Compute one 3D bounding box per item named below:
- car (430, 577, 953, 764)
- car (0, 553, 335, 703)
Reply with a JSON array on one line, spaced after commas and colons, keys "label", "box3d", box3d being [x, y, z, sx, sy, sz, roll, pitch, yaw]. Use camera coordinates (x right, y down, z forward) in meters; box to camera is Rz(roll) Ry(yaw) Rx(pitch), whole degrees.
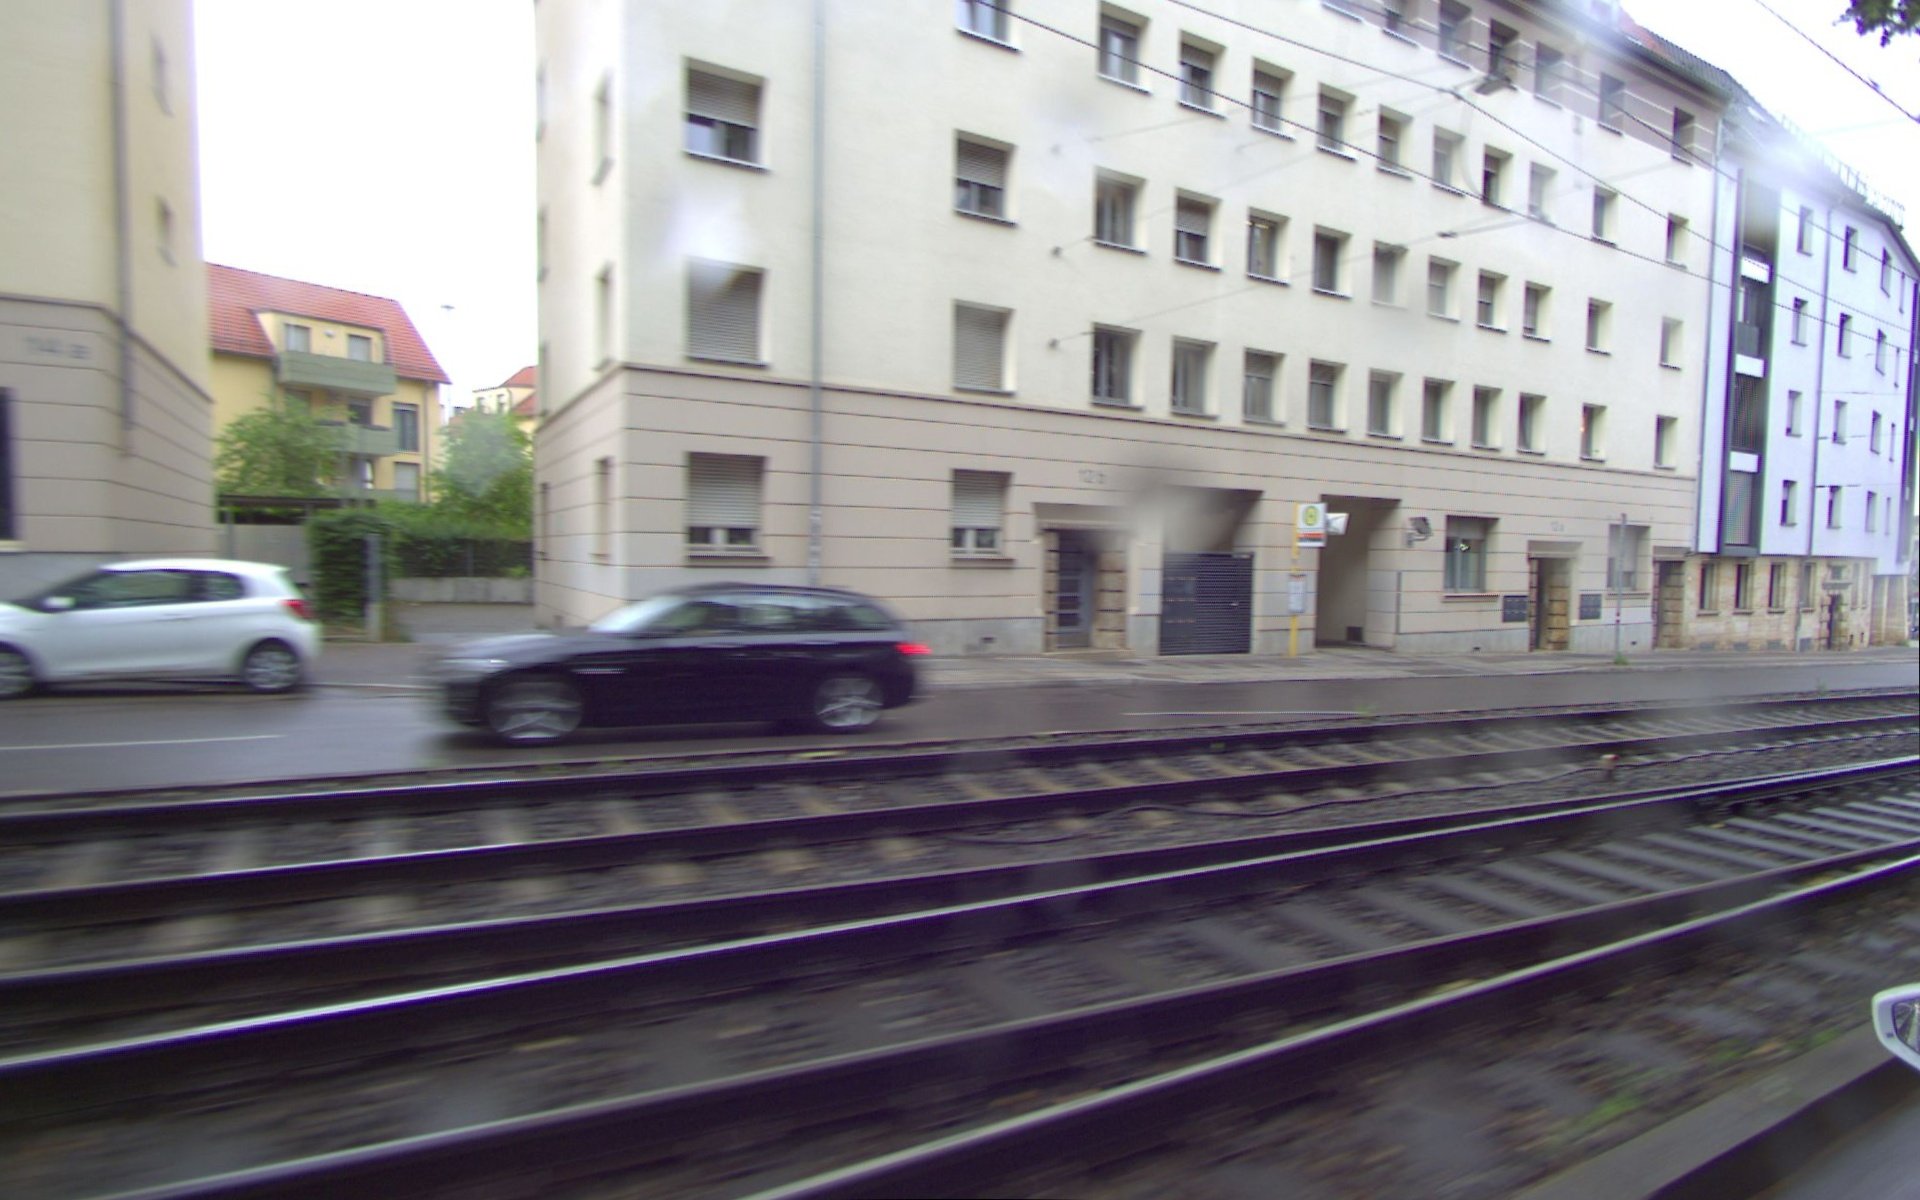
[{"label": "car", "box3d": [-2.611, 0.598, 10.173, 4.797, 1.506, 1.871, 1, 1, -31]}, {"label": "car", "box3d": [-9.269, 0.281, 11.559, 3.504, 1.469, 1.698, 1, 3, -33]}]
